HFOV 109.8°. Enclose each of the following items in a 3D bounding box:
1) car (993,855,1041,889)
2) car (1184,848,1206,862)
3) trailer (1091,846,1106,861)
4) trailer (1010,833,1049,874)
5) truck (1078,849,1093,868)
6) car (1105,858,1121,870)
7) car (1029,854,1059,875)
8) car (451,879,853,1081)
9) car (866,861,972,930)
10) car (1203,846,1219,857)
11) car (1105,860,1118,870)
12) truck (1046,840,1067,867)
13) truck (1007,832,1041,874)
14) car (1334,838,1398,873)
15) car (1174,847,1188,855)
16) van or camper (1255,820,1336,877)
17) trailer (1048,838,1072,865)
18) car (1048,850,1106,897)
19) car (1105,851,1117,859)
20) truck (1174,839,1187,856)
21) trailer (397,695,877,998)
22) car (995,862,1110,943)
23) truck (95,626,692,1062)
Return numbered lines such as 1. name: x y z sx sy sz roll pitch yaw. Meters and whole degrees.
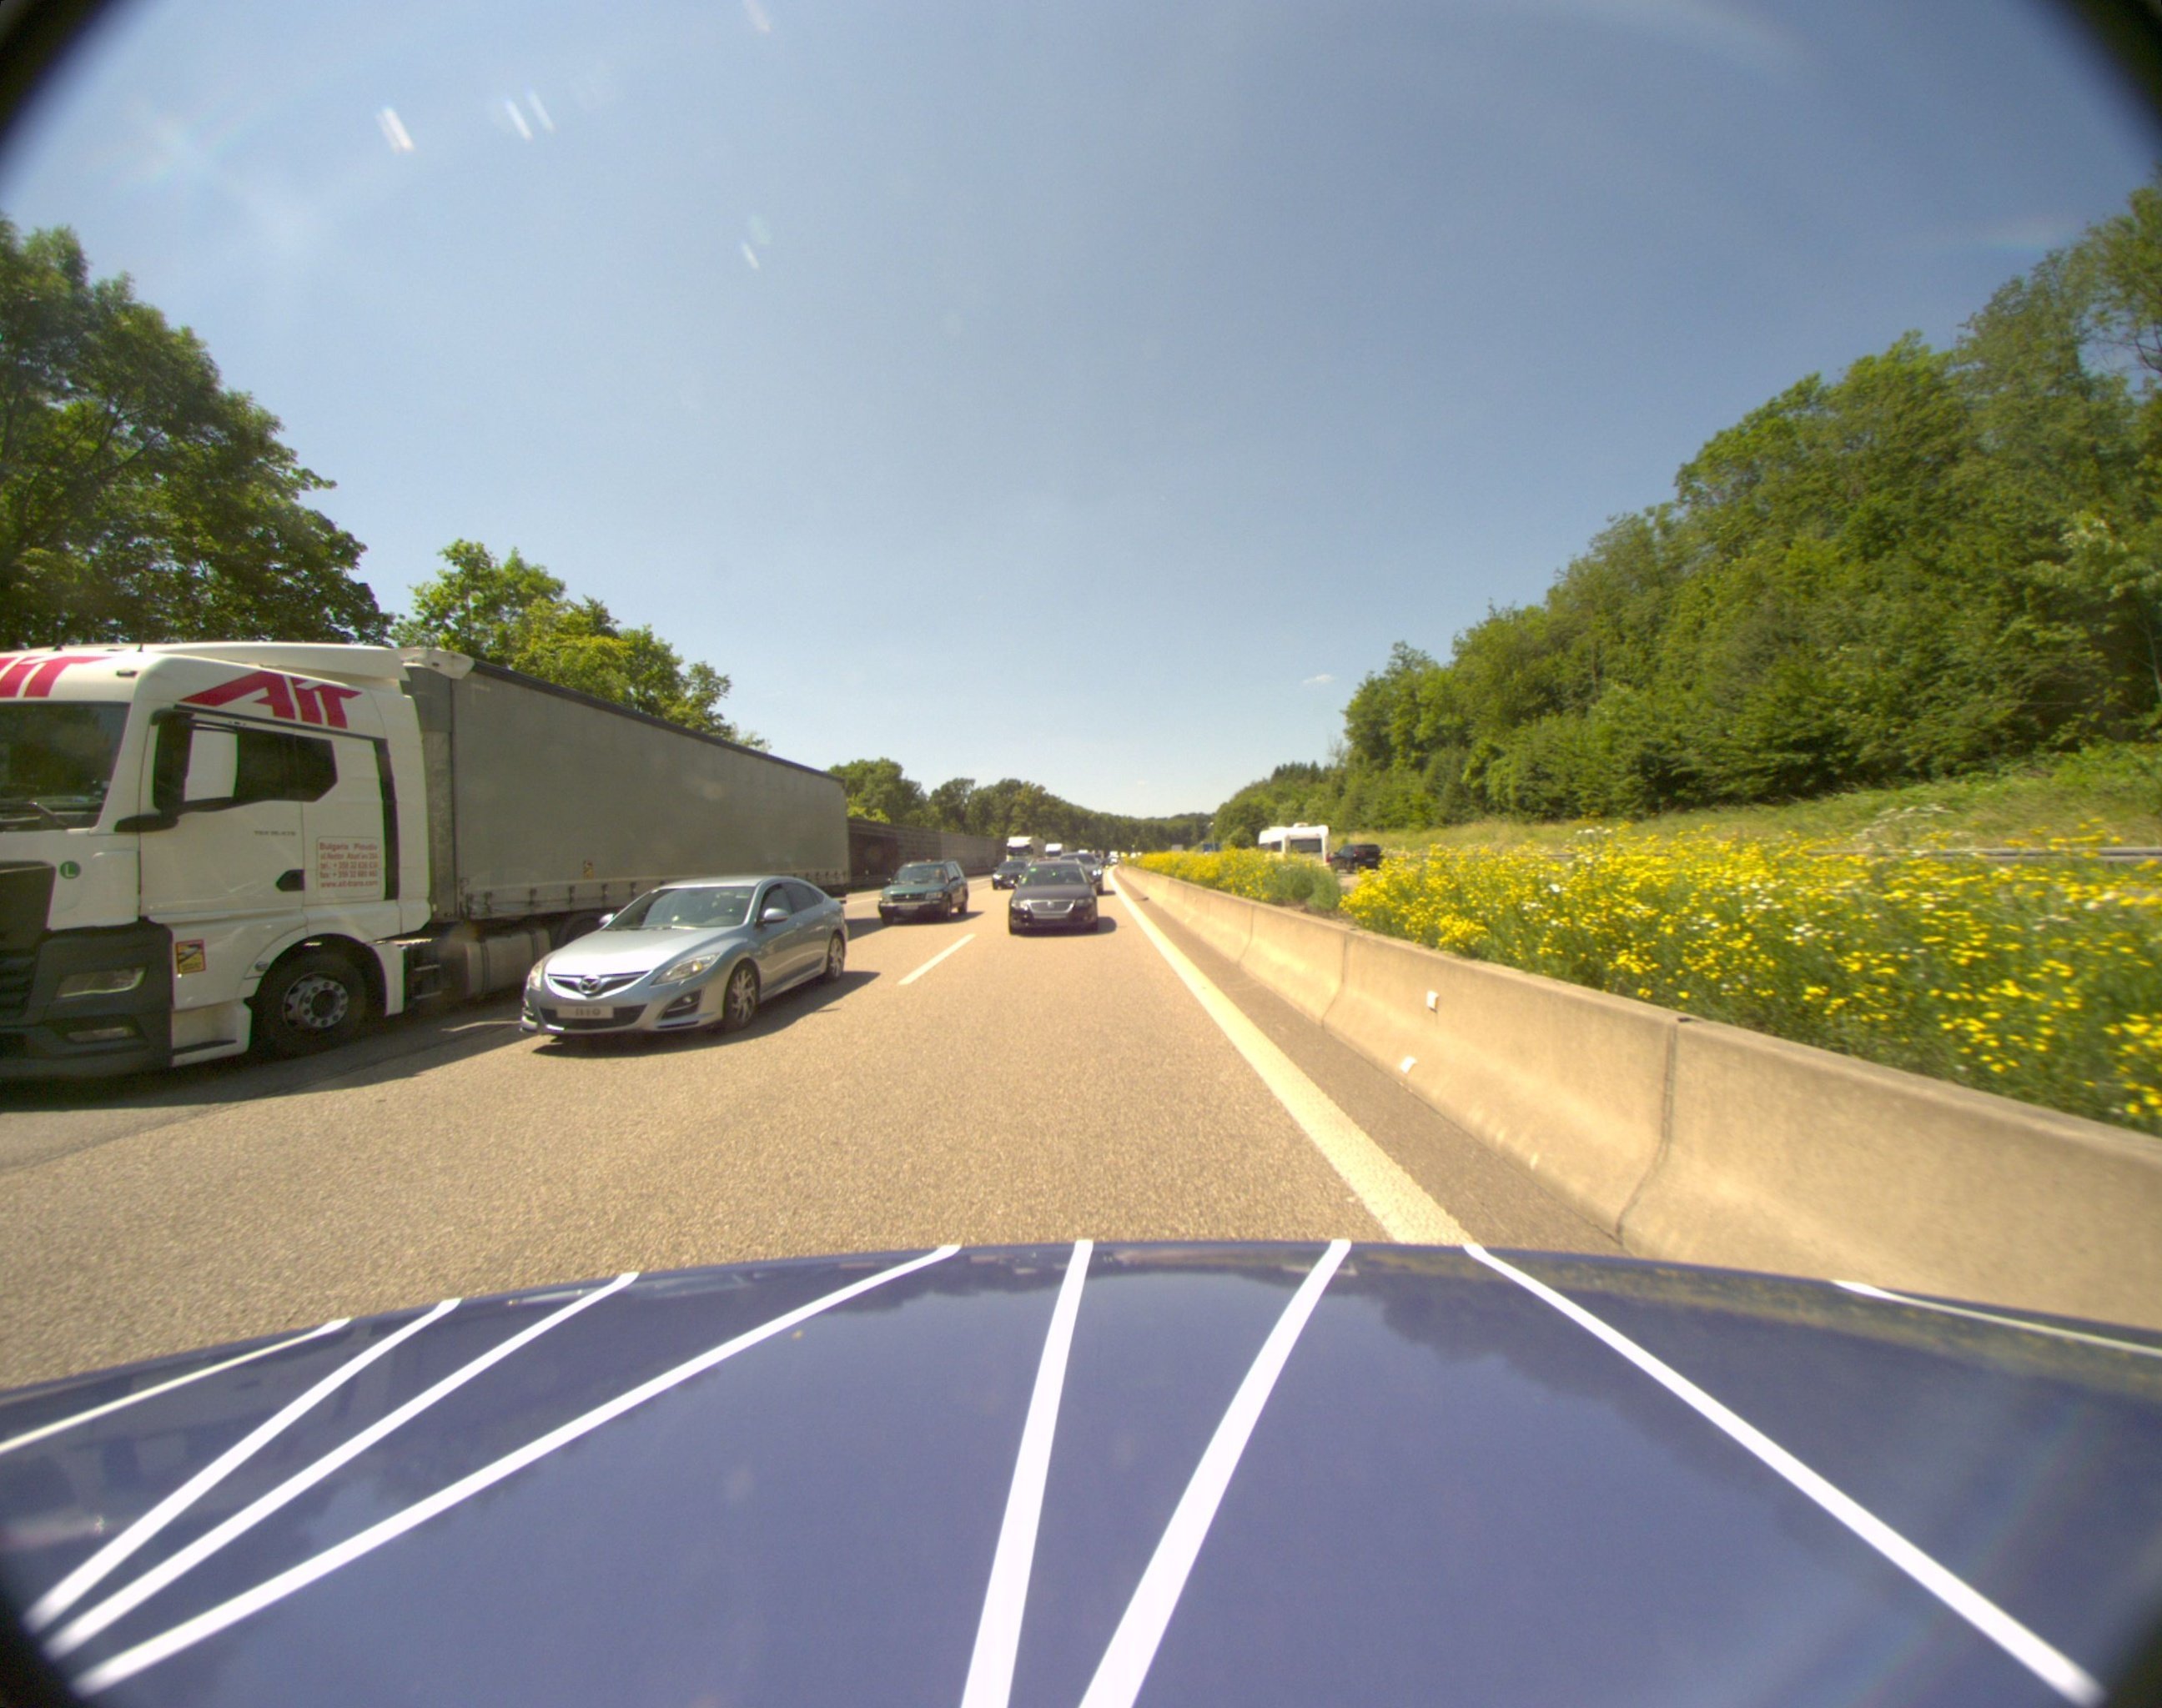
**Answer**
1. car: -3.313 0.907 40.040 1.998 1.641 4.000 -3 0 2
2. car: 12.899 0.102 86.091 1.844 1.513 4.357 -2 0 1
3. trailer: 5.081 -0.132 220.414 3.153 4.061 6.187 -3 0 9
4. trailer: -5.759 -0.016 87.134 2.821 4.190 13.467 -3 0 2
5. truck: 1.085 1.119 184.280 2.852 4.381 5.243 -3 0 9
6. car: 4.440 1.374 105.625 1.998 1.641 4.001 -3 0 5
7. car: -3.145 0.895 65.291 1.998 1.641 4.001 -3 0 4
8. car: -4.063 1.080 8.173 1.860 1.426 4.177 -3 0 0
9. car: -4.168 1.013 20.212 1.908 1.550 4.000 -3 0 0
10. car: 22.590 -0.414 132.497 1.998 1.682 4.767 -2 0 1
11. car: 5.361 1.875 133.907 1.997 1.641 4.002 -3 0 7
12. truck: -3.871 -0.083 122.389 2.544 4.149 4.747 -3 0 6
13. truck: -5.976 -0.087 80.253 2.812 4.190 5.422 -3 0 2
14. car: 15.227 0.080 40.833 1.760 1.686 4.422 -2 0 1
15. car: 18.193 -0.496 138.219 1.998 1.435 4.007 -2 0 1
16. van or camper: 10.964 -0.272 39.525 2.314 2.620 7.400 -2 0 2
17. trailer: -3.447 -0.391 127.227 2.541 4.149 10.180 -3 0 5
18. car: -0.070 0.724 30.092 1.998 1.641 4.001 -2 0 3
19. car: 6.113 0.225 154.394 1.997 1.641 4.002 -3 0 7
20. truck: 25.227 -1.579 192.180 2.834 3.915 13.754 -2 0 9
21. trailer: -7.933 -0.120 17.248 2.605 4.066 13.591 -2 0 1
22. car: -0.471 0.932 16.220 1.907 1.410 4.002 -3 0 5
23. truck: -8.000 -0.099 10.051 2.605 4.066 5.552 -2 0 1
